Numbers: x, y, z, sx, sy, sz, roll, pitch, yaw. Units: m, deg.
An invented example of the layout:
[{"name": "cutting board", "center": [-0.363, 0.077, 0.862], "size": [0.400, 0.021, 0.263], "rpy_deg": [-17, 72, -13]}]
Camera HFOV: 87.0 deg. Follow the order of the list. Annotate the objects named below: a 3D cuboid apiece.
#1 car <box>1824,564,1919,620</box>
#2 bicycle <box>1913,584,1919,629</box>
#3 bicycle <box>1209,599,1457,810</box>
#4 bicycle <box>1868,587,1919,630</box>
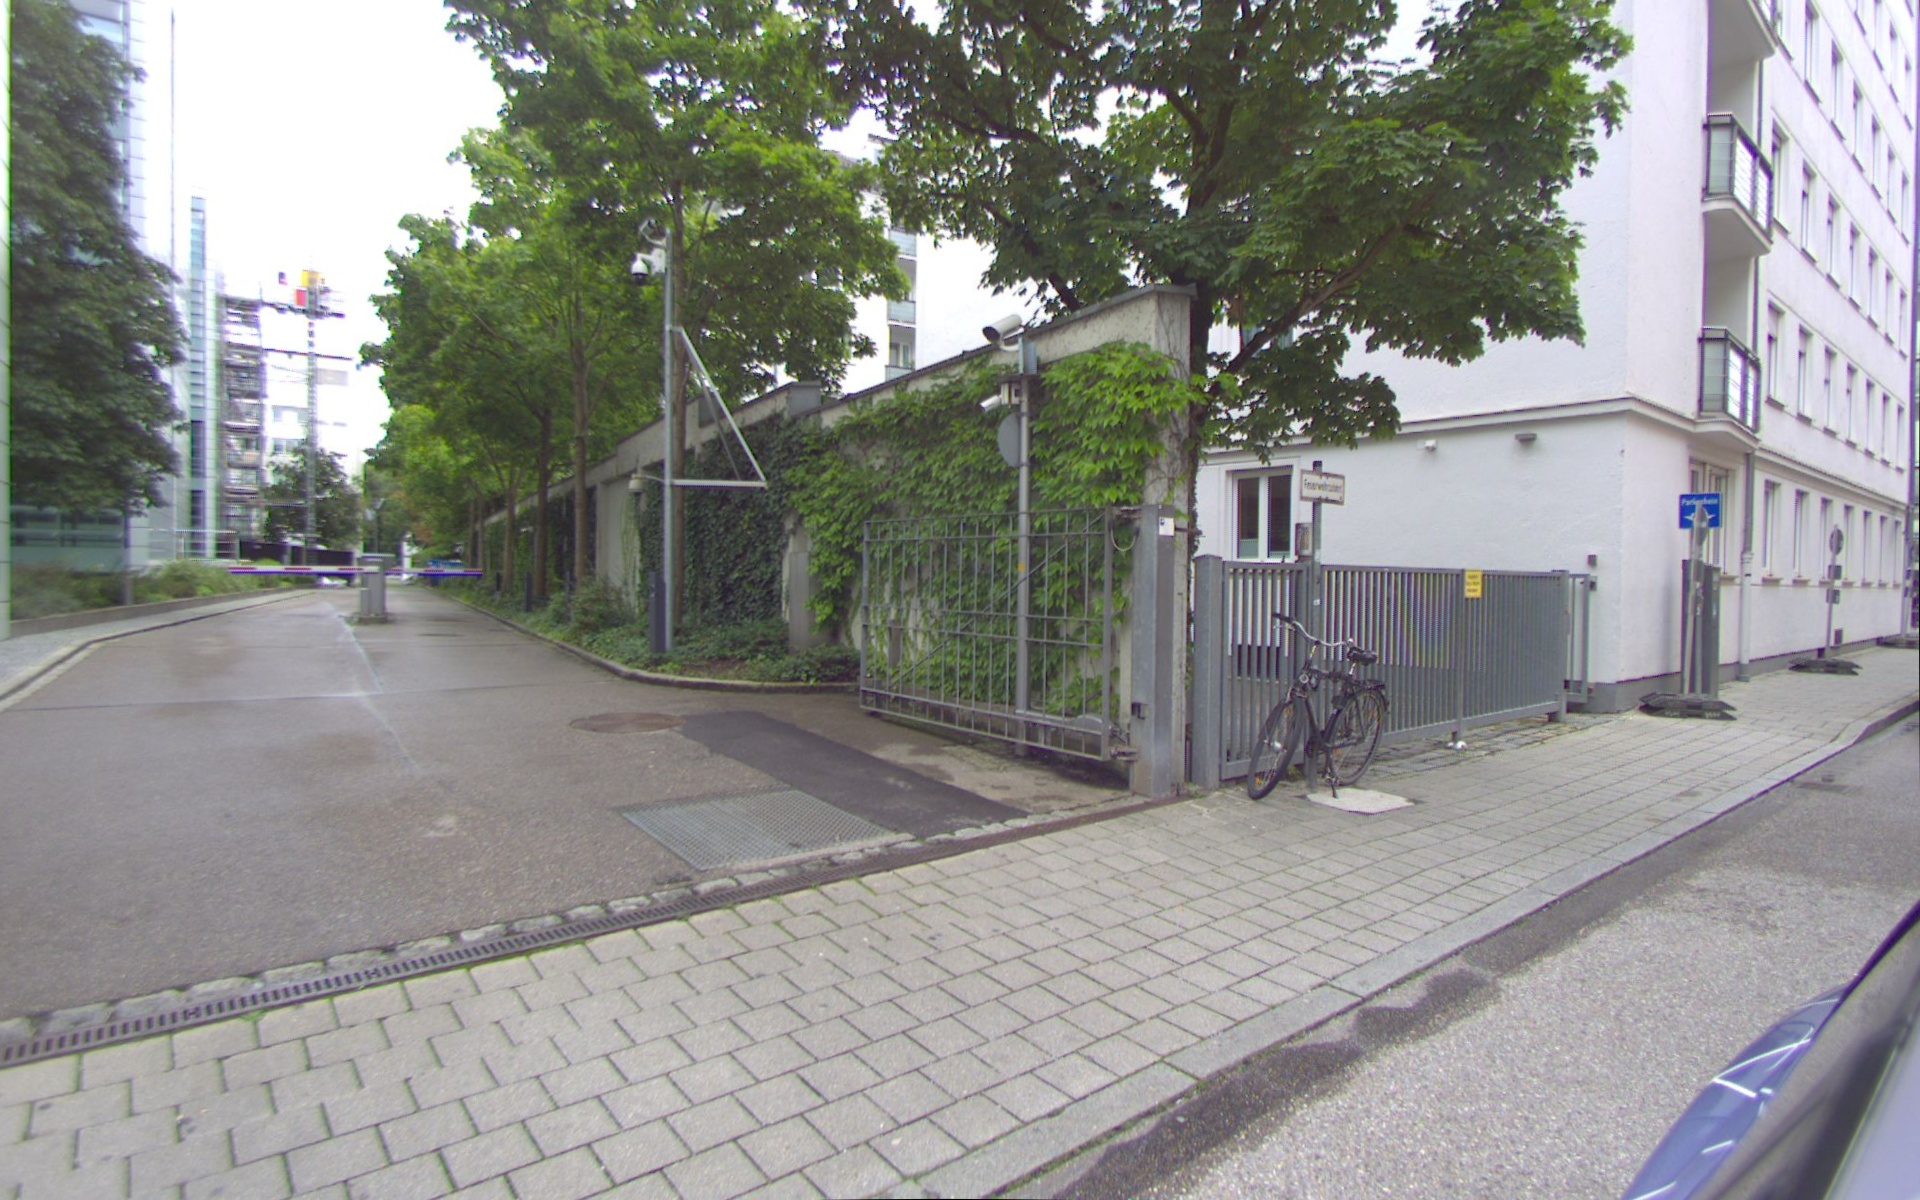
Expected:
[{"name": "car", "center": [33.948, -0.270, 35.856], "size": [1.895, 1.914, 4.688], "rpy_deg": [1, 2, -31]}, {"name": "bicycle", "center": [26.385, 0.198, 27.353], "size": [0.395, 1.219, 1.493], "rpy_deg": [3, 3, 25]}, {"name": "bicycle", "center": [2.535, 0.649, 6.777], "size": [1.800, 1.213, 0.709], "rpy_deg": [3, -1, -39]}, {"name": "bicycle", "center": [24.796, 0.241, 26.428], "size": [1.490, 1.056, 0.394], "rpy_deg": [4, 4, 33]}]
